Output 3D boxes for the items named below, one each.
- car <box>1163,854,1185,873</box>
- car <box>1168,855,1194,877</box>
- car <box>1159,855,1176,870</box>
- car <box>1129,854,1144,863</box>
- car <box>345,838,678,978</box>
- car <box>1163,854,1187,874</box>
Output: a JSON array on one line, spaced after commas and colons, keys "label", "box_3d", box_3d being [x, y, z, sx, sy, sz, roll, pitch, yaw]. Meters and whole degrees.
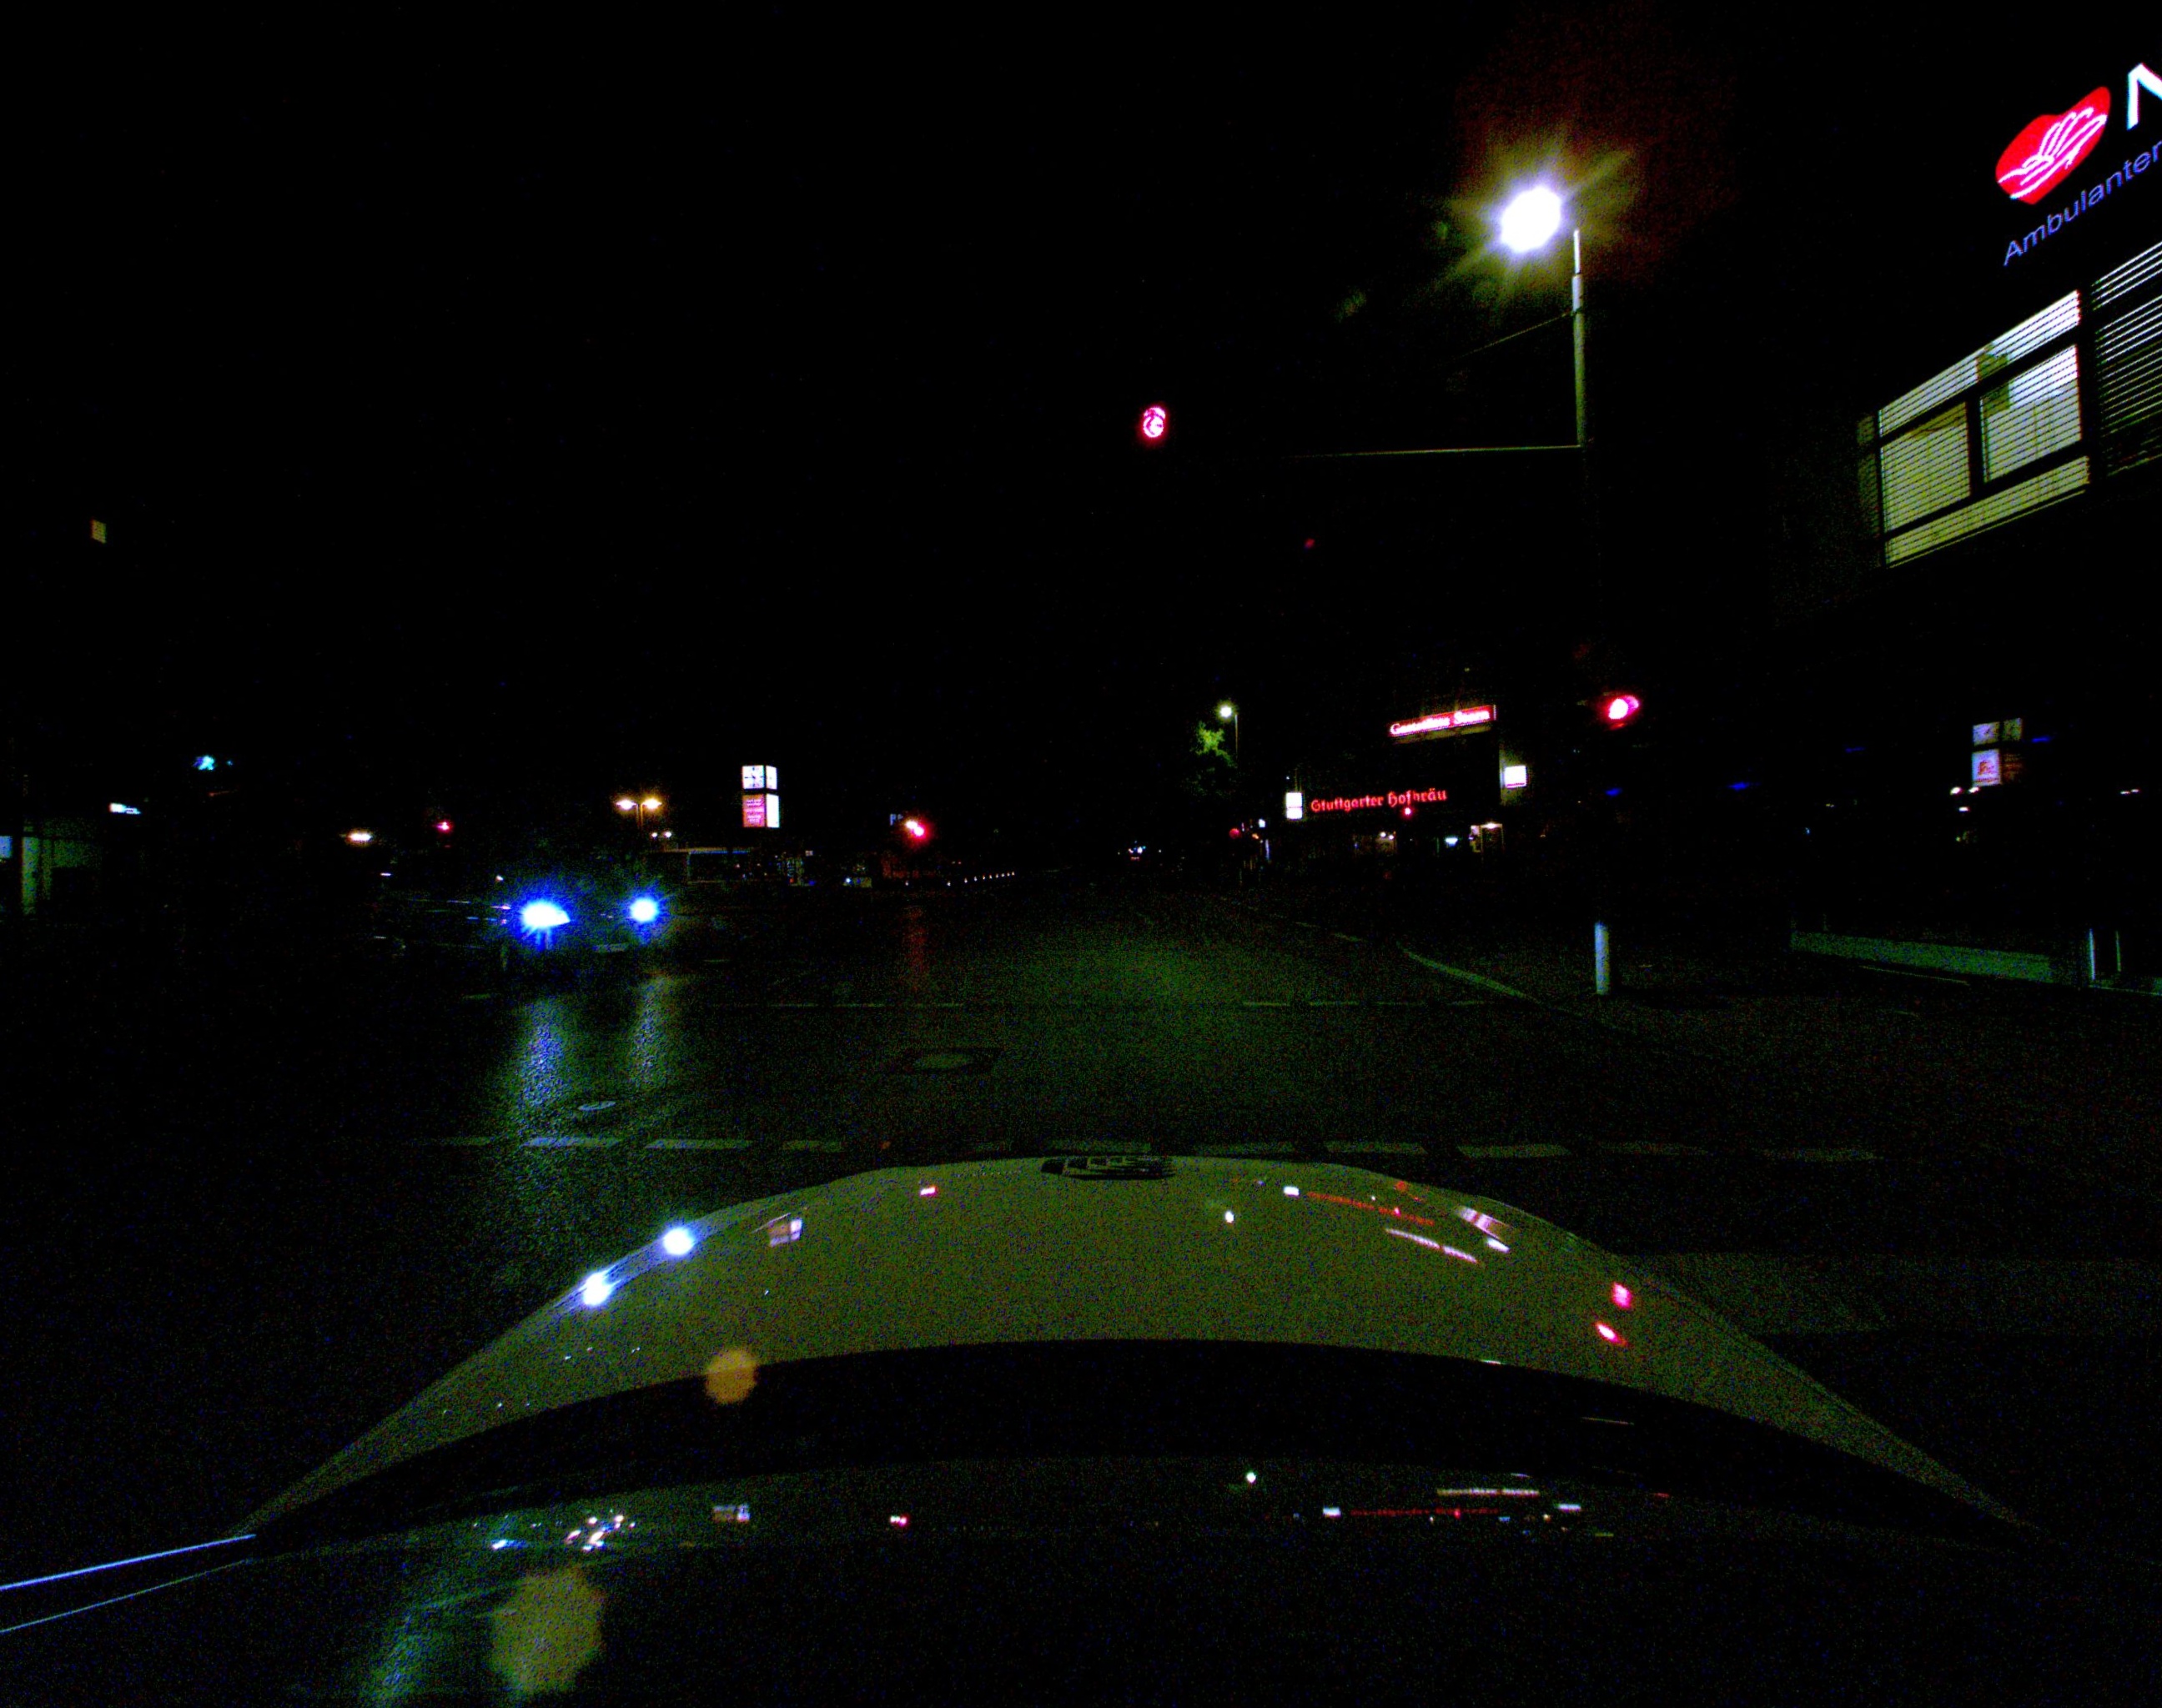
[{"label": "car", "box_3d": [8.680, 0.877, 76.434, 1.868, 1.729, 4.005, -2, -1, 5]}, {"label": "car", "box_3d": [7.789, 0.927, 63.757, 1.868, 1.615, 4.005, -2, -1, 5]}, {"label": "car", "box_3d": [10.045, 0.944, 94.496, 1.868, 1.683, 4.005, -2, -1, 5]}, {"label": "car", "box_3d": [11.262, 0.898, 165.355, 2.211, 1.651, 4.016, -1, 0, 14]}, {"label": "car", "box_3d": [-8.921, 0.788, 12.736, 4.852, 1.871, 1.984, -2, -1, 23]}, {"label": "car", "box_3d": [7.885, 0.831, 68.777, 1.868, 1.615, 4.005, -2, -1, 5]}]
